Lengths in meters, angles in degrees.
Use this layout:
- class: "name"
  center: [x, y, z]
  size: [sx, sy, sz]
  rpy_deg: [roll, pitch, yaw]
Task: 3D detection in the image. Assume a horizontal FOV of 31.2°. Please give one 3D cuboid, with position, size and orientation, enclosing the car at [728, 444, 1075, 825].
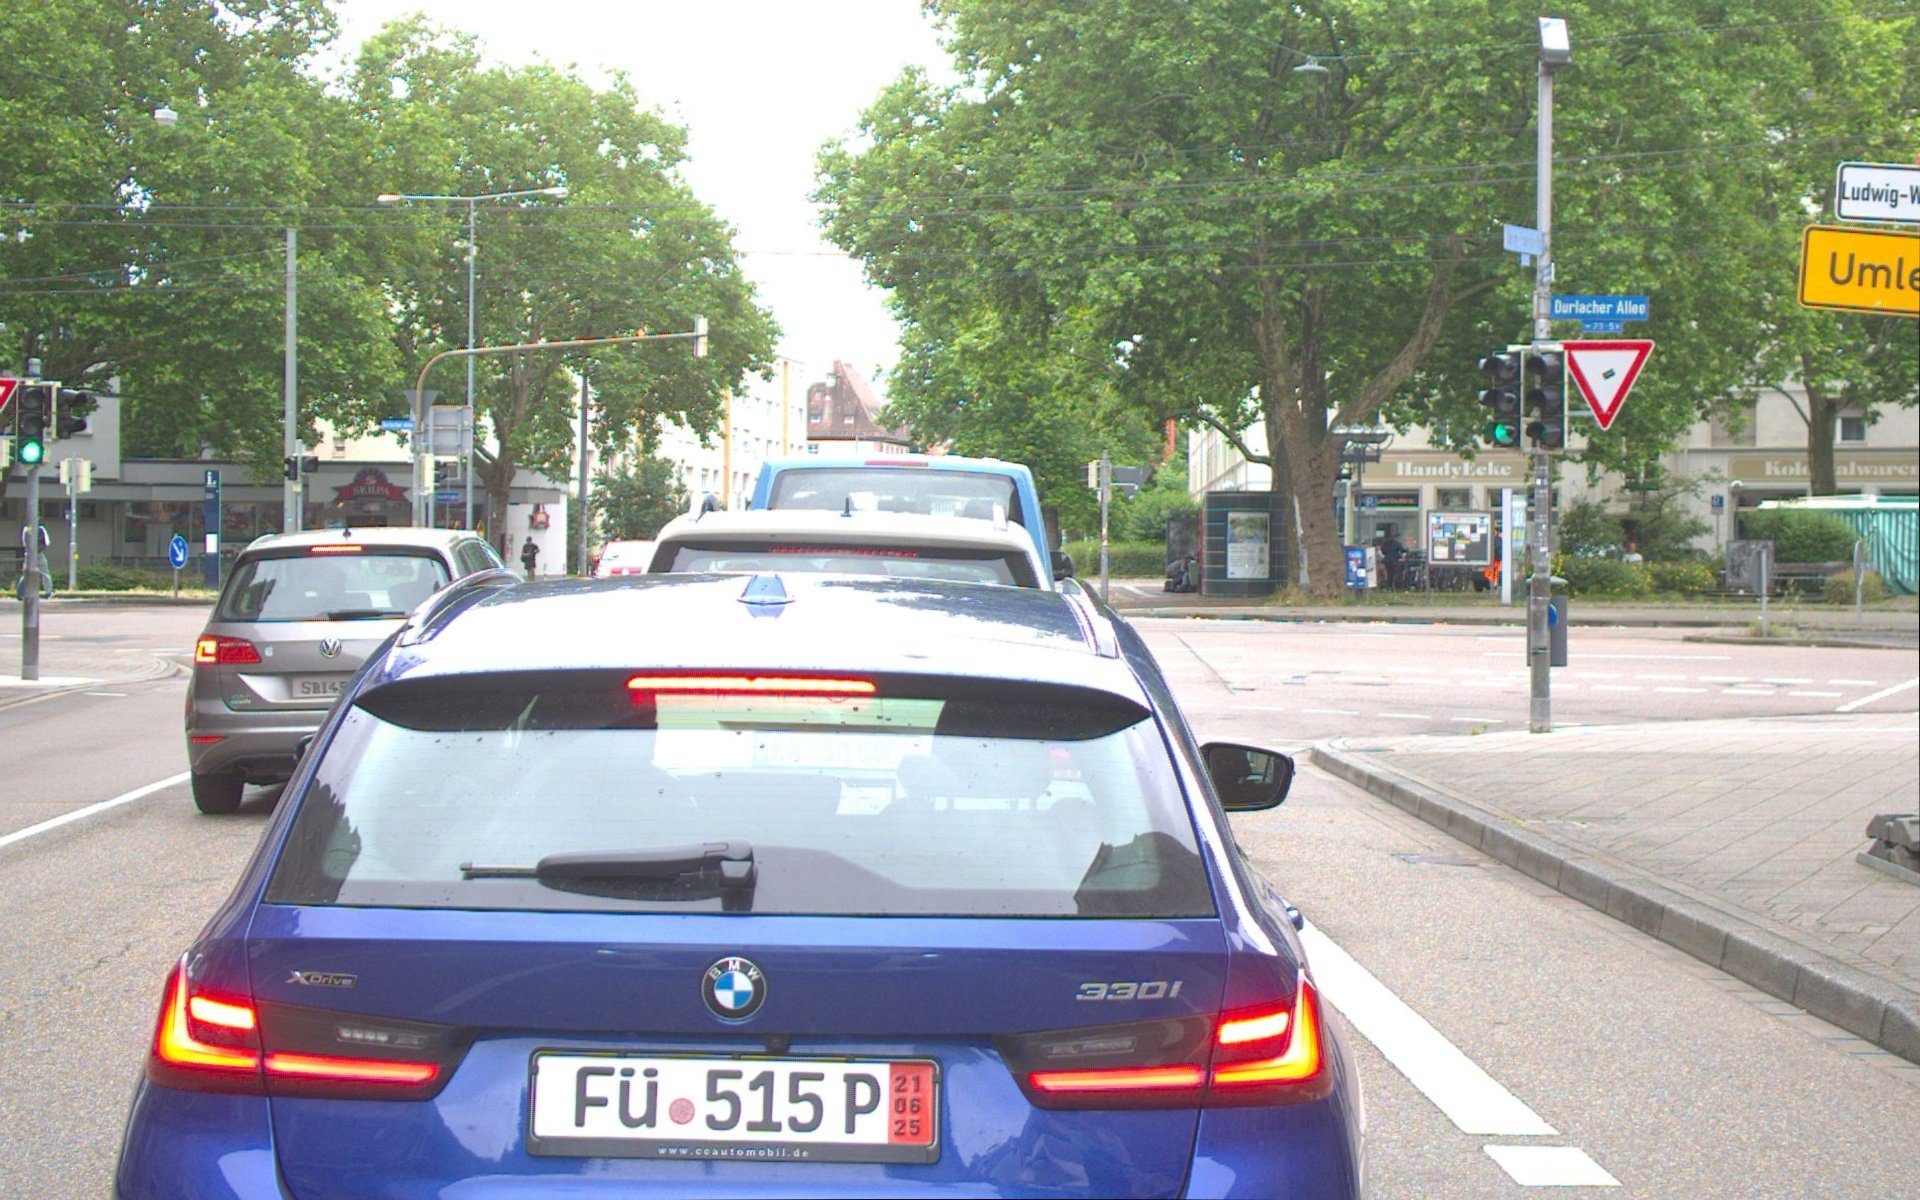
- class: "car"
  center: [-0.331, 0.140, 20.079]
  size: [1.815, 1.998, 4.000]
  rpy_deg: [0, 1, -1]

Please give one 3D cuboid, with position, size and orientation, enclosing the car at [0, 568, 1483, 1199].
- class: "car"
  center: [-0.305, 0.671, 6.297]
  size: [1.815, 1.400, 4.320]
  rpy_deg: [0, 1, -1]

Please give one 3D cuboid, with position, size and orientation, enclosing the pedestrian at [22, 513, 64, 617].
- class: "pedestrian"
  center: [-17.878, -0.686, 67.034]
  size: [0.625, 2.007, 0.617]
  rpy_deg: [1, 0, -2]

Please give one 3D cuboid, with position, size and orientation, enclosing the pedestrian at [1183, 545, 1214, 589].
- class: "pedestrian"
  center: [7.154, -0.978, 103.072]
  size: [0.853, 1.310, 0.763]
  rpy_deg: [0, 1, 0]

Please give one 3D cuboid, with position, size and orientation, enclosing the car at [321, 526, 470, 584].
- class: "car"
  center: [-17.177, -1.351, 104.576]
  size: [3.987, 1.700, 2.000]
  rpy_deg: [0, 1, -34]

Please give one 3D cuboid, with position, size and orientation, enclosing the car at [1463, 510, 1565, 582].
- class: "car"
  center: [17.321, -1.694, 107.401]
  size: [2.177, 2.193, 3.995]
  rpy_deg: [1, 1, 24]

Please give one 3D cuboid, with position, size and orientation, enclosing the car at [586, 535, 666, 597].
- class: "car"
  center: [-8.068, -0.839, 83.277]
  size: [1.649, 1.442, 3.511]
  rpy_deg: [0, 1, -1]

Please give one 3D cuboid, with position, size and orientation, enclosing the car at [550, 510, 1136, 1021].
- class: "car"
  center: [-0.386, 0.473, 12.681]
  size: [1.815, 1.586, 4.000]
  rpy_deg: [0, 1, -1]

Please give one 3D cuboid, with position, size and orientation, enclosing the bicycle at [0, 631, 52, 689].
- class: "bicycle"
  center: [-9.911, 0.511, 33.406]
  size: [1.886, 0.443, 1.029]
  rpy_deg: [6, 2, -2]

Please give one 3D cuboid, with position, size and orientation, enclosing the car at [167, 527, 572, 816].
- class: "car"
  center: [-3.341, 0.337, 20.144]
  size: [1.732, 1.519, 4.000]
  rpy_deg: [0, 1, -1]

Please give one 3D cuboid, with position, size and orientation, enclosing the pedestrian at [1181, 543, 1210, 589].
- class: "pedestrian"
  center: [7.134, -1.027, 104.020]
  size: [0.817, 1.367, 0.763]
  rpy_deg: [0, 1, 0]

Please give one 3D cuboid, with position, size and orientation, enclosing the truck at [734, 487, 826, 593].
- class: "truck"
  center: [-4.205, -1.442, 81.016]
  size: [2.074, 2.400, 5.463]
  rpy_deg: [0, 1, -2]

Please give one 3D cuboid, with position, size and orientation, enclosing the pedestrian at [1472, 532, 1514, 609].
- class: "pedestrian"
  center: [12.102, -0.684, 78.113]
  size: [0.784, 1.737, 0.925]
  rpy_deg: [0, 1, -2]

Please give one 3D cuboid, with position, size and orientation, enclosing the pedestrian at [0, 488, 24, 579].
- class: "pedestrian"
  center: [-18.895, -1.306, 67.538]
  size: [0.676, 1.765, 0.724]
  rpy_deg: [1, 1, 41]
